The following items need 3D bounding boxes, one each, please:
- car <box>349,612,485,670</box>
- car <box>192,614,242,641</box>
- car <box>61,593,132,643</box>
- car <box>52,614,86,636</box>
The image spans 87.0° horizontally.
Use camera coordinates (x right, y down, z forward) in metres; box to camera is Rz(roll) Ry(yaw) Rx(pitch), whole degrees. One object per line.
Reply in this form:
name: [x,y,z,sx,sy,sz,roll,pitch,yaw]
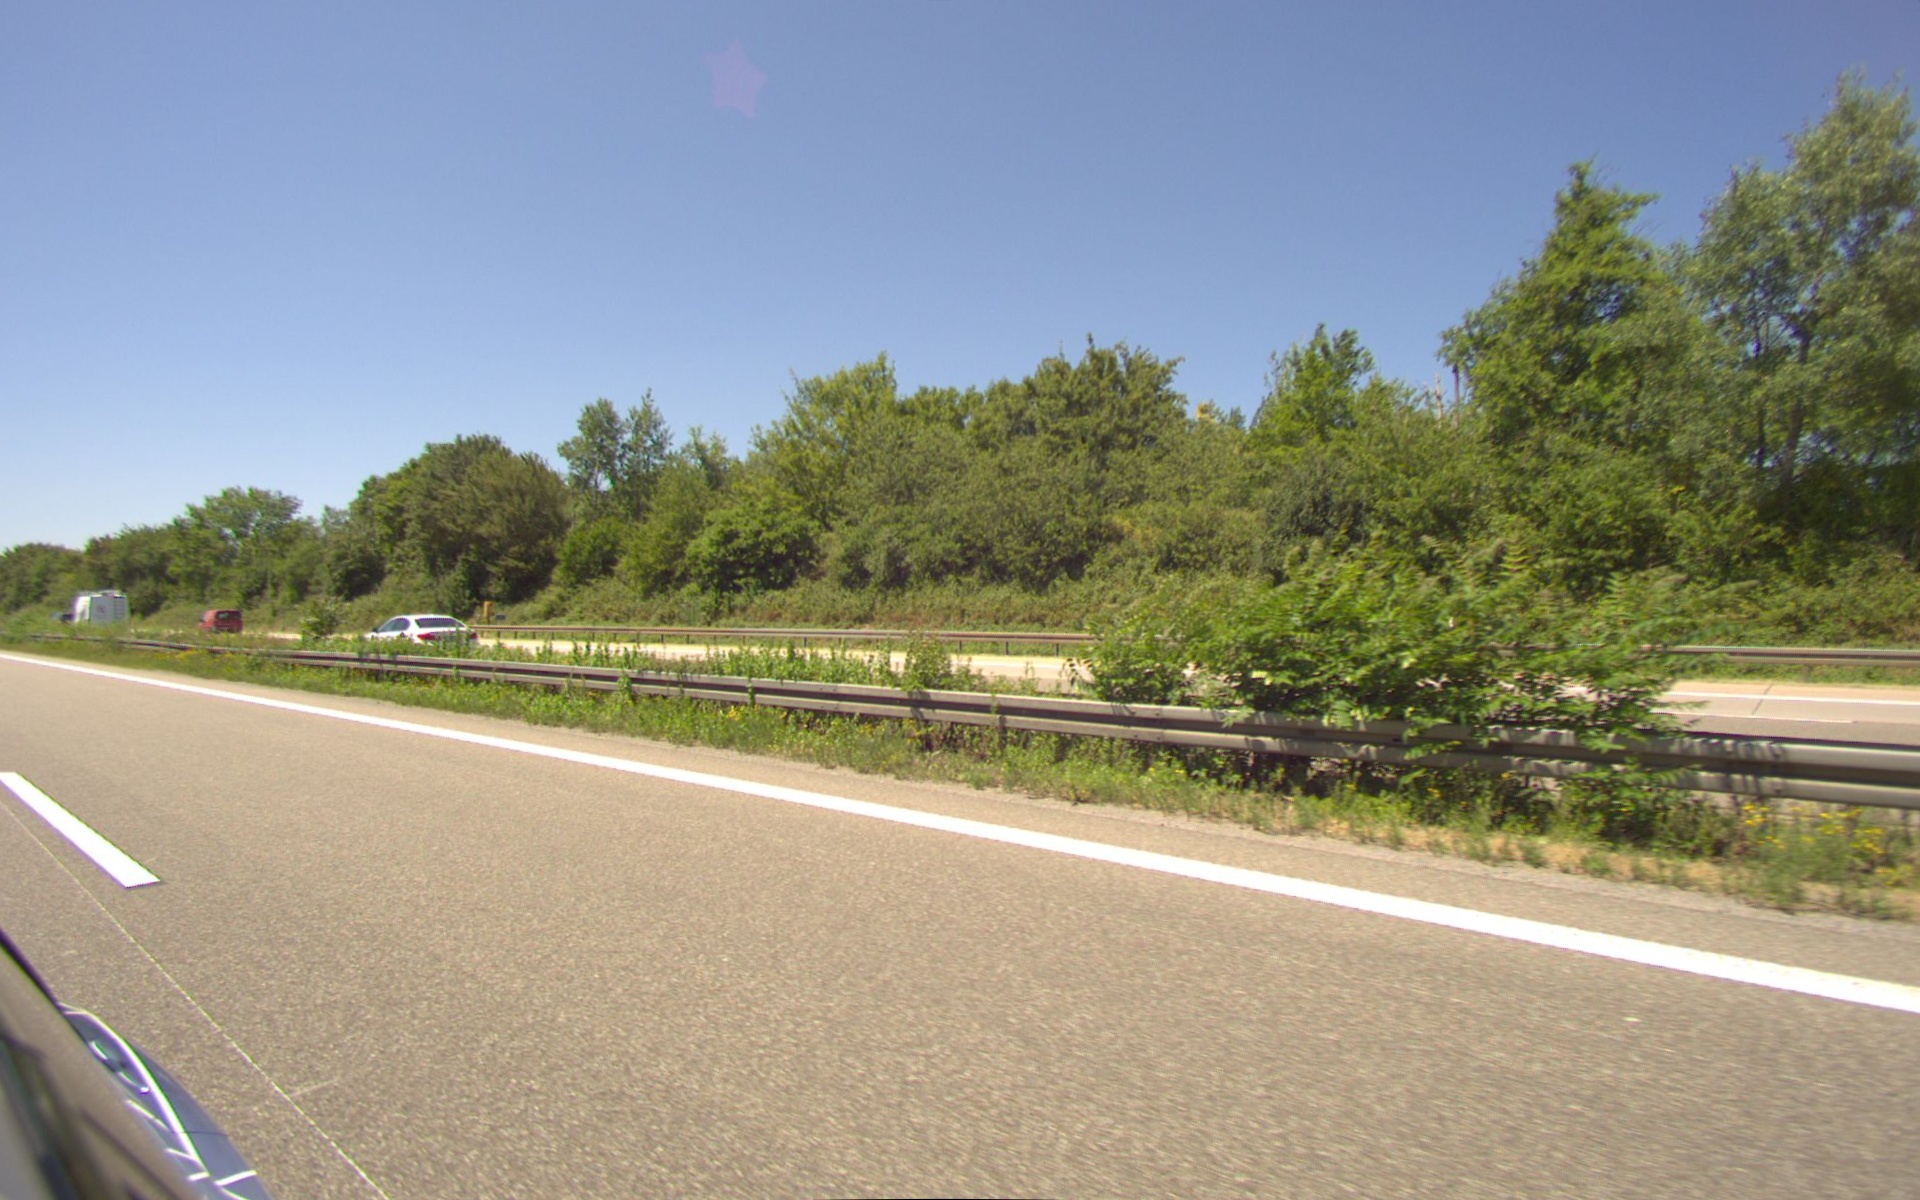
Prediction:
car: [-15.911,1.154,29.531,4.915,1.547,1.820,-1,-1,40]
car: [-50.418,1.846,68.674,4.763,1.790,1.687,-1,-1,40]
car: [-50.104,1.046,58.658,5.821,2.800,2.068,-1,-1,38]
car: [-73.769,2.091,83.757,3.999,1.767,1.649,-1,-1,42]
